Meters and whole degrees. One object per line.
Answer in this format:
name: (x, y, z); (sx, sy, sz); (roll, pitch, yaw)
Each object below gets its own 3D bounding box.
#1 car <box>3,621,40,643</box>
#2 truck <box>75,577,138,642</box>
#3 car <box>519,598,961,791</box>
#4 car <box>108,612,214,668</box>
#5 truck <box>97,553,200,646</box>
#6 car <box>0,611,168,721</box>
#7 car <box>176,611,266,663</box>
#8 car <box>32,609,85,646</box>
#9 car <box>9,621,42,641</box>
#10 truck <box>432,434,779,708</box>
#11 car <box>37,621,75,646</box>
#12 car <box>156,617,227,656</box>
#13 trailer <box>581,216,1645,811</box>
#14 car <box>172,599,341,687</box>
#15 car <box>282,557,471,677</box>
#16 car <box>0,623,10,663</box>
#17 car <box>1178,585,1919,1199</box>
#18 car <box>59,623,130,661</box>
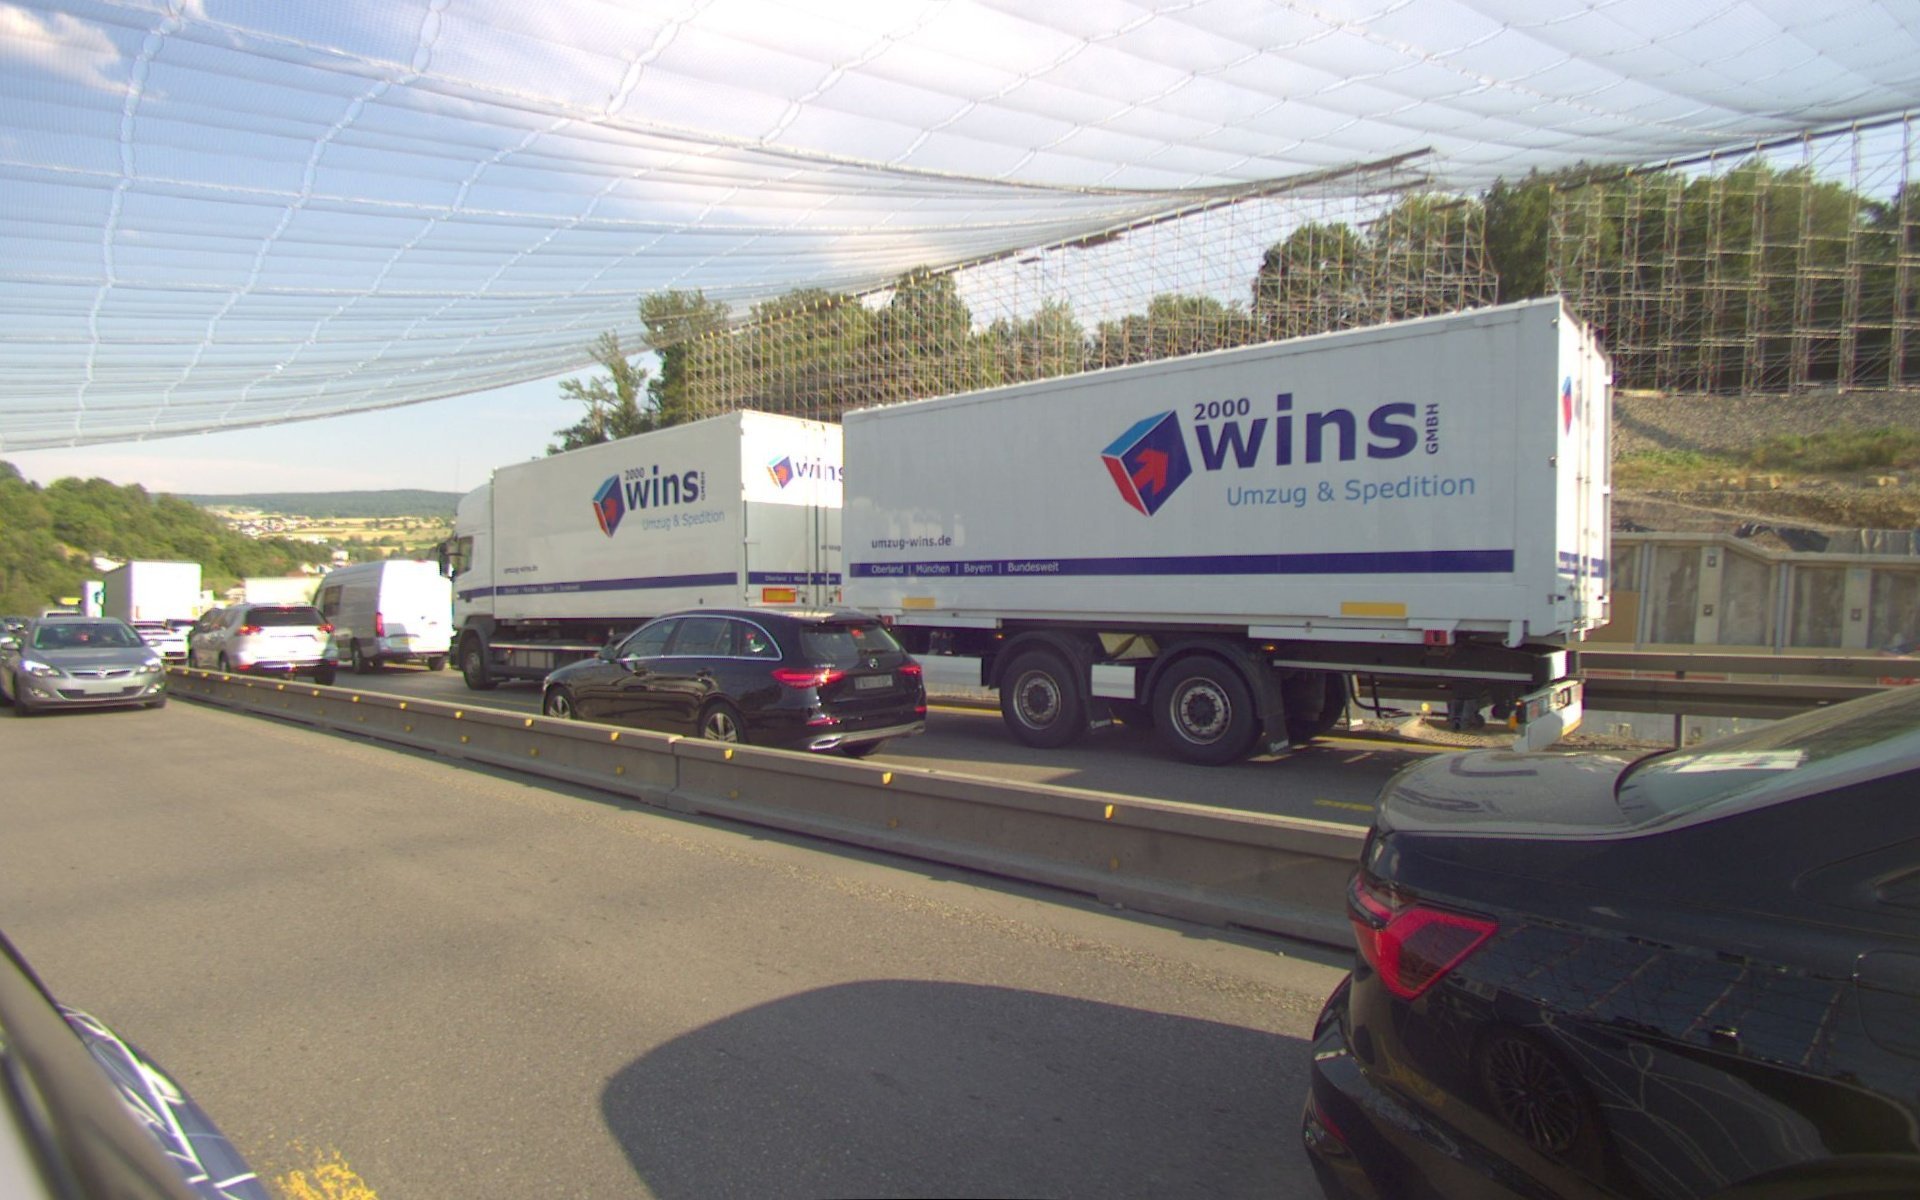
car: (-71.120, 2.398, 76.672); (4.648, 1.546, 1.912); (-1, 0, 45)
truck: (-66.385, 0.789, 78.525); (2.951, 4.593, 17.425); (0, 0, -43)
car: (-2.337, 0.752, 9.893); (4.660, 1.461, 1.759); (-1, 0, 40)
car: (-24.707, 1.189, 31.246); (4.364, 1.580, 1.789); (-1, 0, 41)
truck: (-42.445, 0.062, 52.669); (2.690, 4.259, 14.176); (0, -1, -45)
car: (-13.982, 0.940, 15.960); (4.353, 1.484, 1.736); (-1, 0, 44)
car: (-26.853, 1.281, 36.719); (4.938, 1.740, 1.803); (-1, 0, 44)
car: (-48.901, 1.464, 54.856); (5.283, 1.883, 1.788); (-1, 0, 44)
car: (-76.780, 2.518, 83.141); (1.912, 1.530, 4.983); (0, 0, -43)
truck: (-6.529, -0.378, 17.942); (7.201, 3.939, 2.603); (-1, -1, 41)
car: (-59.692, 2.171, 66.776); (4.219, 1.563, 1.564); (-1, 0, 44)
car: (-33.555, 1.555, 44.141); (4.911, 1.552, 1.772); (-1, 0, 44)
trailer: (0.095, -0.510, 12.230); (13.324, 4.046, 2.642); (-1, 0, 41)
car: (-14.173, 0.802, 20.297); (4.364, 1.580, 1.789); (-1, 0, 41)
car: (-15.252, 0.431, 26.208); (7.081, 2.733, 2.217); (-1, 0, 43)
car: (-35.832, 1.552, 36.869); (1.740, 1.394, 3.825); (0, 0, -44)
car: (2.879, 0.645, 0.850); (4.958, 1.409, 1.914); (-2, -1, 41)
car: (-35.665, 1.672, 41.665); (4.519, 1.430, 1.788); (-1, 0, 44)
